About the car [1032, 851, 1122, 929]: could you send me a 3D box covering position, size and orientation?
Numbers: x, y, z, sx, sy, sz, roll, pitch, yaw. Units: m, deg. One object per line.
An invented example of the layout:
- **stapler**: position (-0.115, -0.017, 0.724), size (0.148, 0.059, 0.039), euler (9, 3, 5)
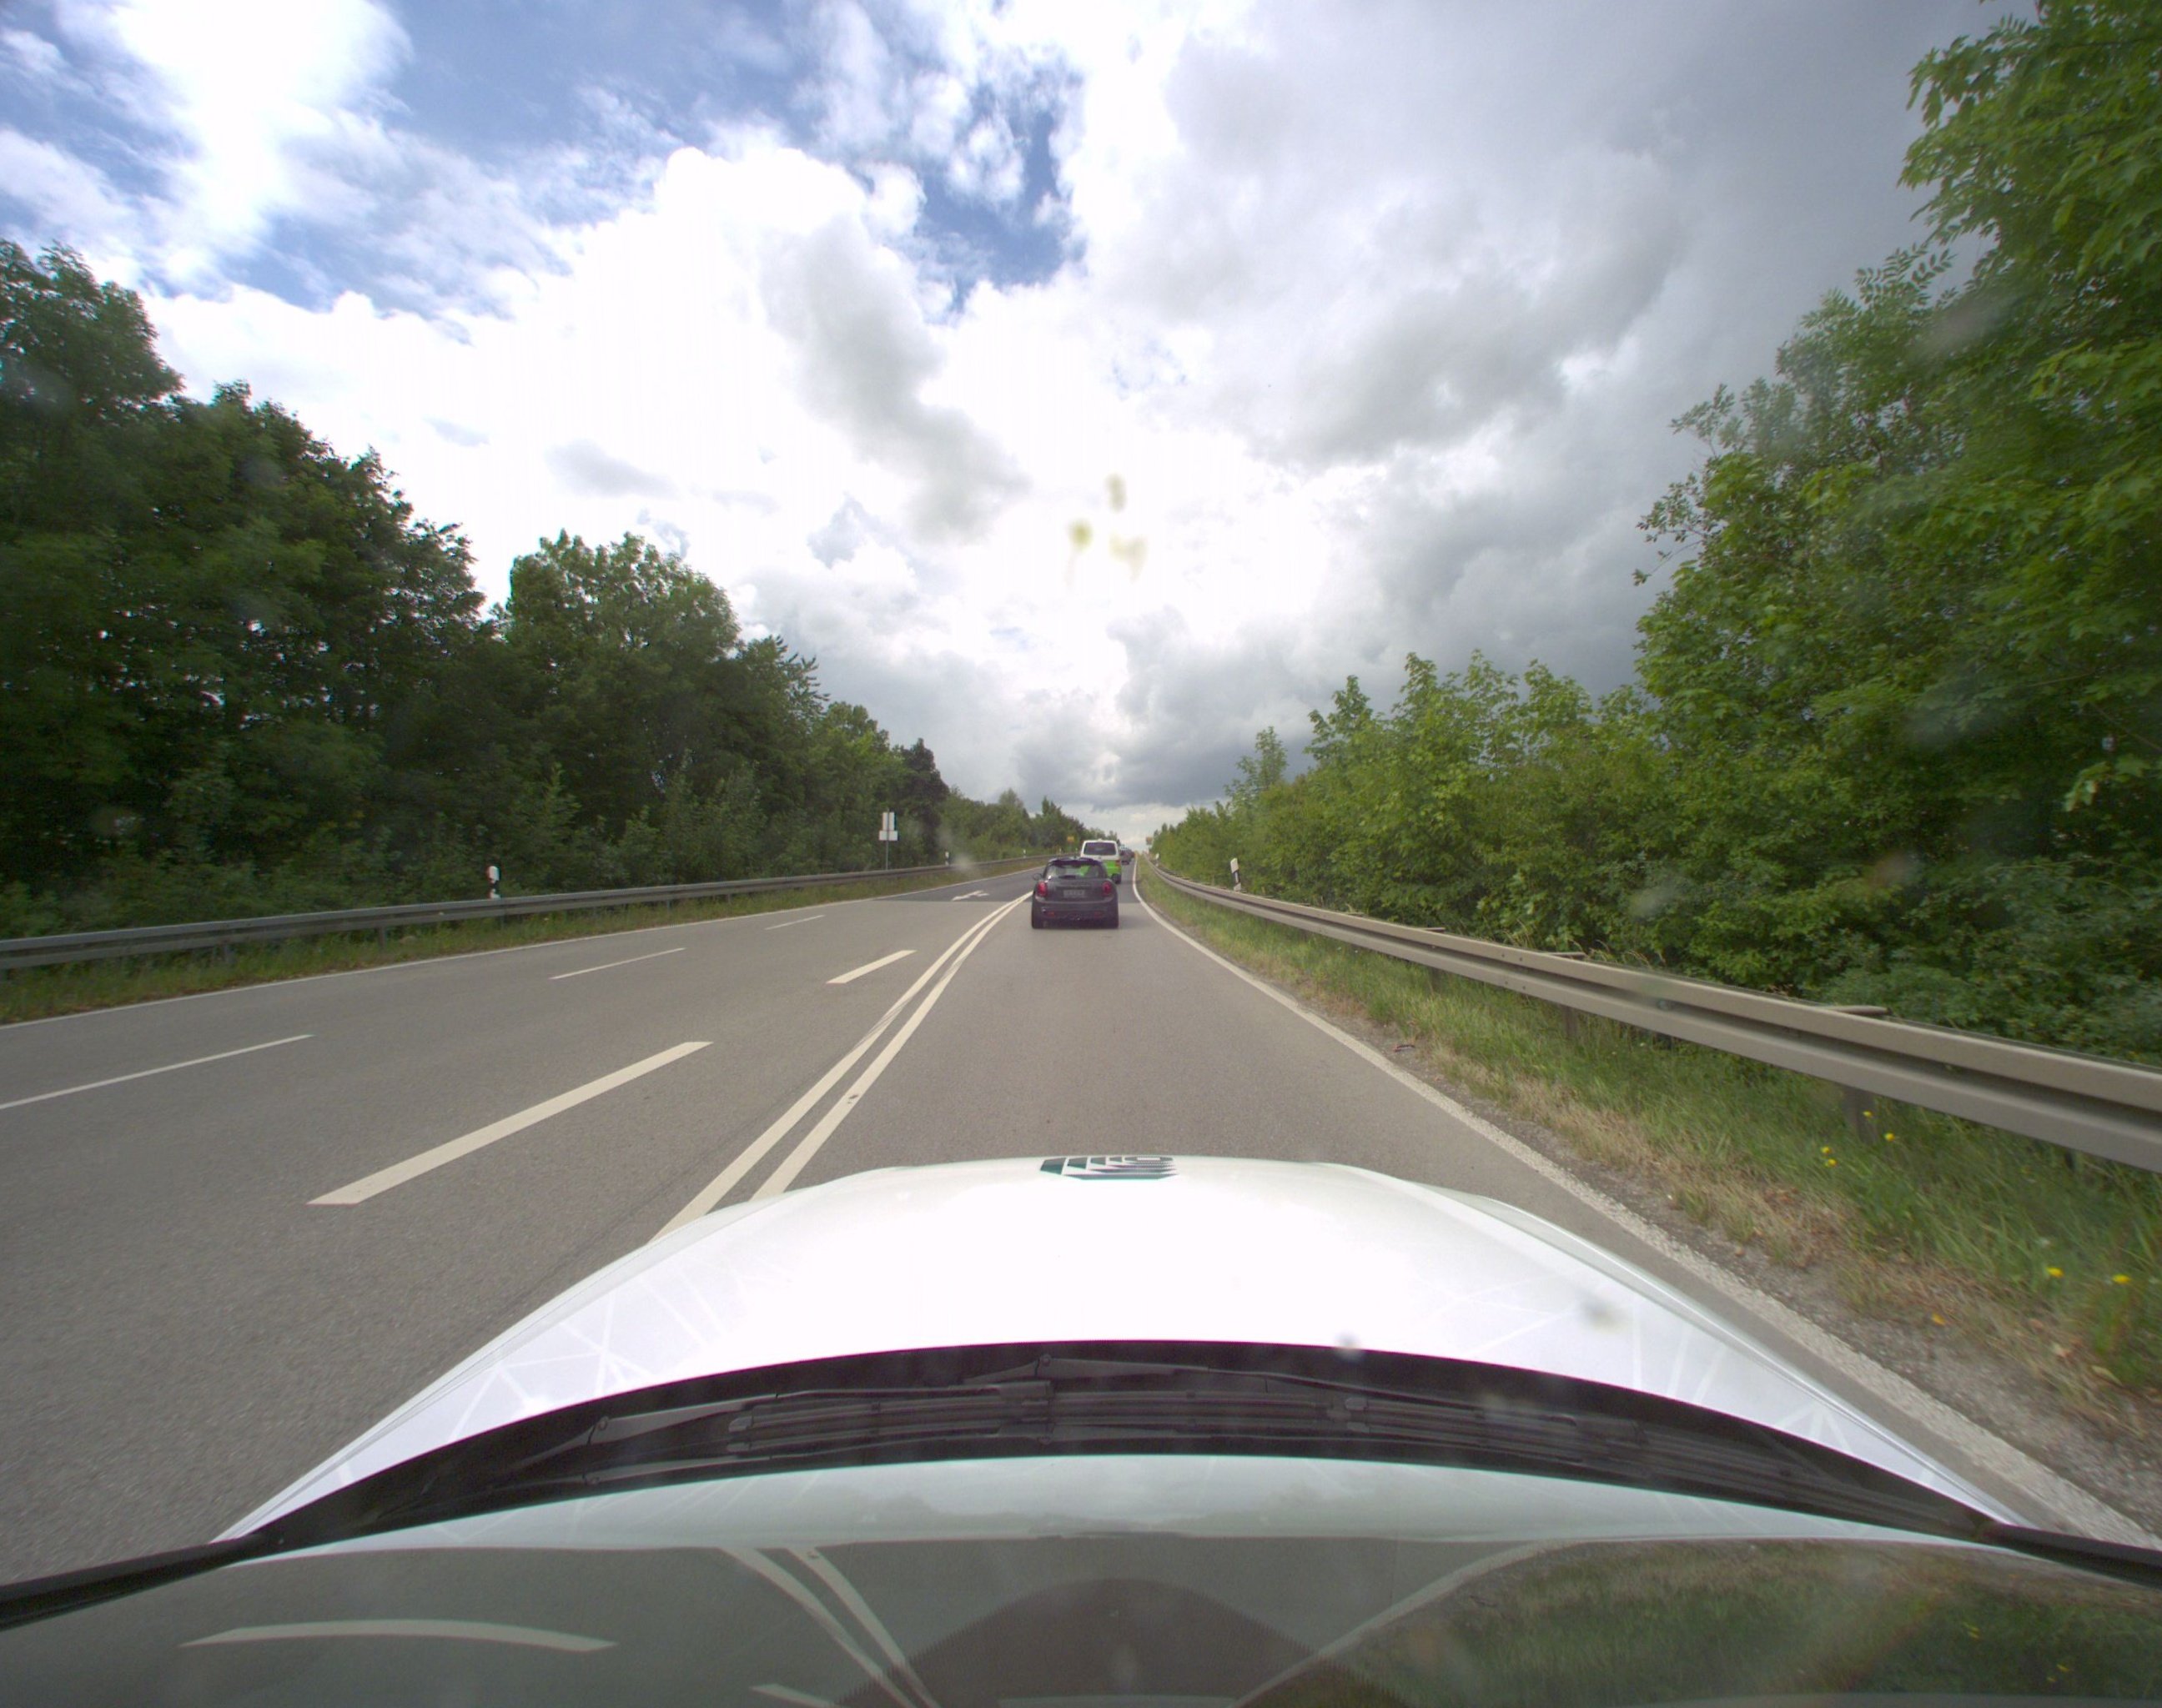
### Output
- **car**: position (-0.127, 0.675, 17.664), size (1.727, 1.455, 3.998), euler (-1, 0, -2)

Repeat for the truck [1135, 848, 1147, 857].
- **truck**: position (16.209, -0.413, 220.218), size (2.896, 2.372, 10.466), euler (-2, 0, 5)

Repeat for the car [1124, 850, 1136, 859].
- **car**: position (8.137, 0.046, 134.593), size (1.686, 1.319, 4.007), euler (-2, 1, 6)

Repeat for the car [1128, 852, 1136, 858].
- **car**: position (11.250, 0.269, 179.162), size (1.686, 1.319, 4.007), euler (-2, 1, 6)

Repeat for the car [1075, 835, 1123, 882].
- **car**: position (0.893, 0.166, 37.729), size (2.013, 2.013, 4.004), euler (0, 1, 3)

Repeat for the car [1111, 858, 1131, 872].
- **car**: position (3.795, 1.034, 76.770), size (1.687, 1.222, 4.004), euler (-2, 0, 4)
